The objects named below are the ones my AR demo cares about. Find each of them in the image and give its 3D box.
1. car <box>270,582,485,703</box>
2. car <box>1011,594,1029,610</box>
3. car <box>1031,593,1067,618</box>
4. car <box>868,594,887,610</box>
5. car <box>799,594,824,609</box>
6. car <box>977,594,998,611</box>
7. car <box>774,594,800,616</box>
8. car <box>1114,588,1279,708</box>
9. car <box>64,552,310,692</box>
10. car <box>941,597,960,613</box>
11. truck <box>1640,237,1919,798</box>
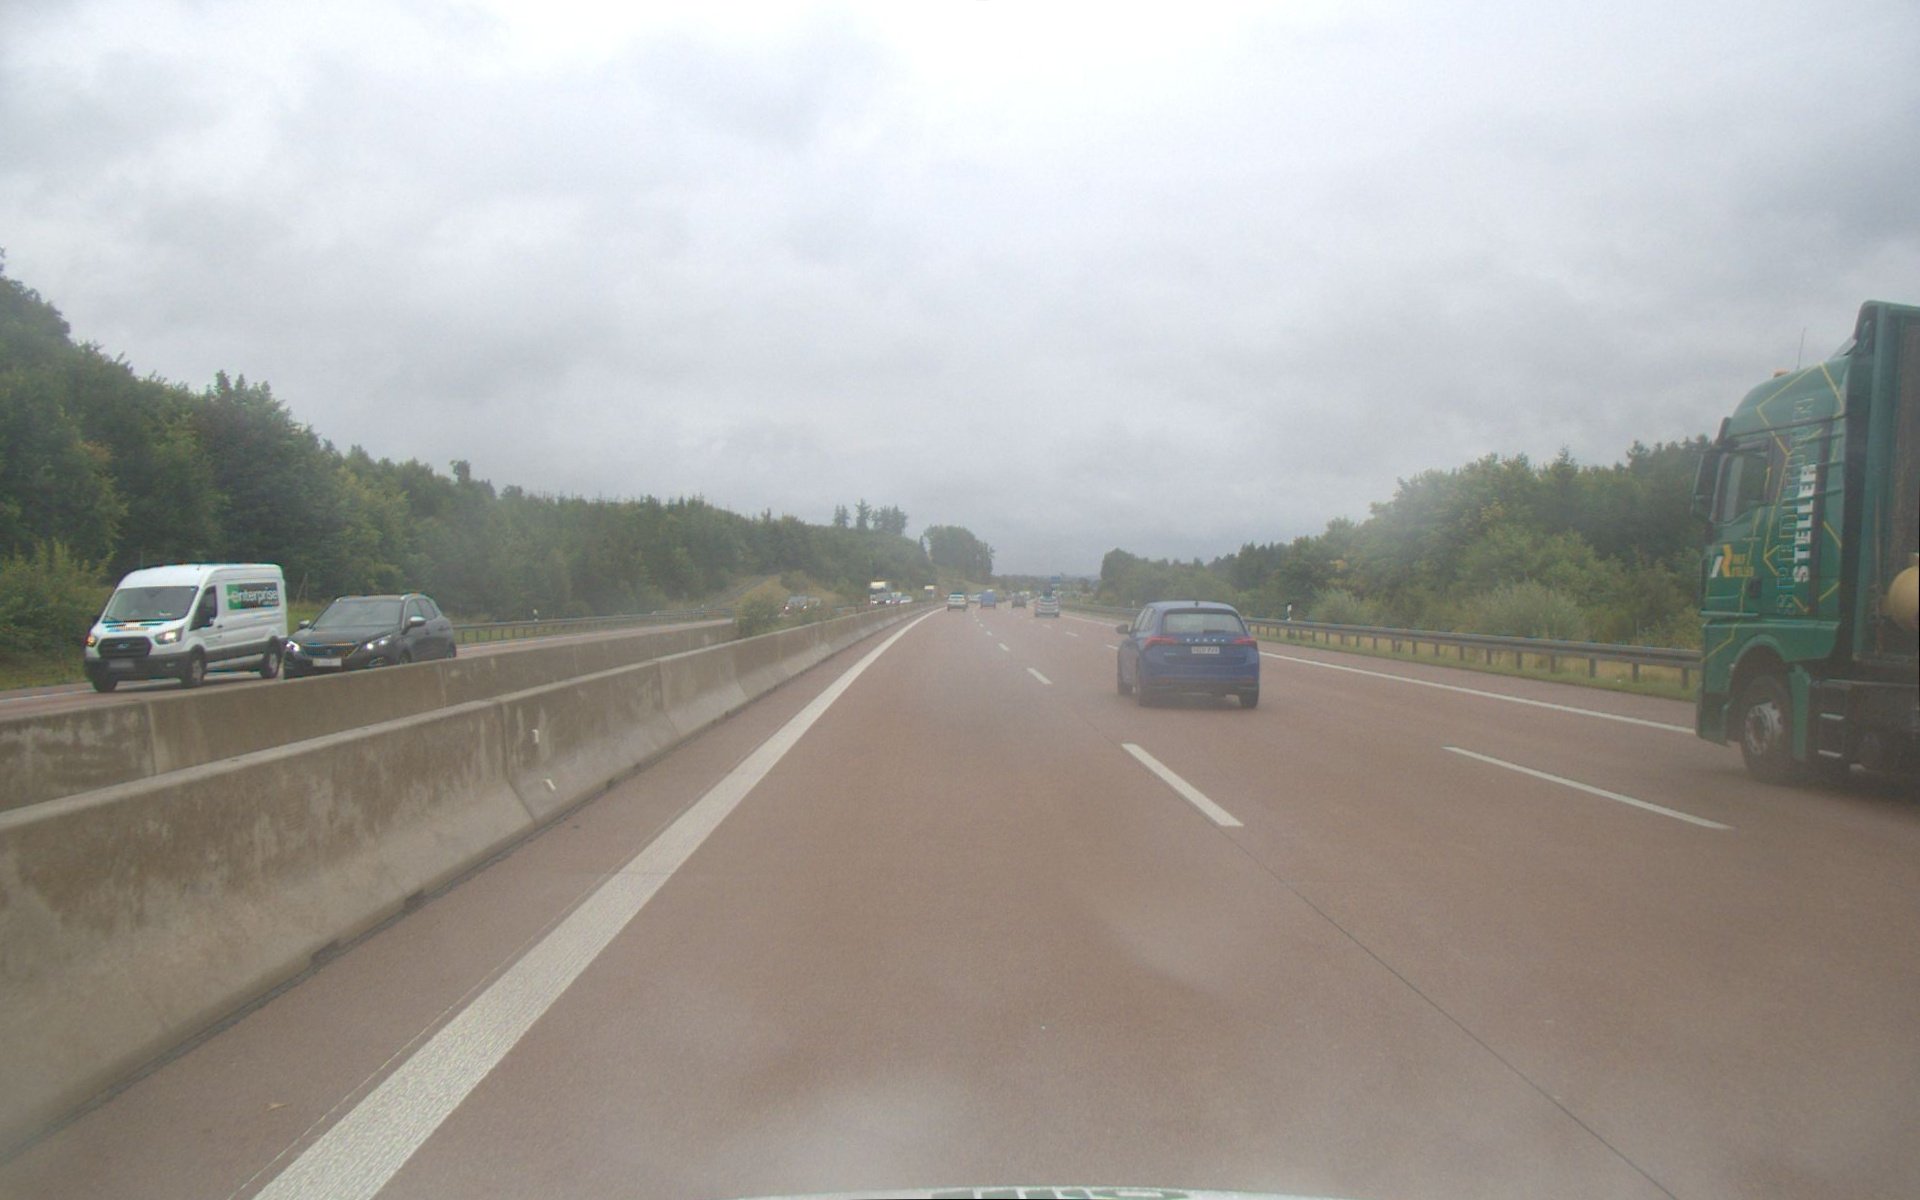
[{"bbox_3d":[-9.667,0.648,27.884,1.953,1.859,4.686,0,0,0],"label":"car"},{"bbox_3d":[7.672,0.262,211.635,1.953,2.049,3.998,1,-1,-2],"label":"car"},{"bbox_3d":[6.706,0.417,125.021,2.275,1.780,4.875,1,-1,-1],"label":"car"},{"bbox_3d":[-8.910,0.204,178.611,1.827,1.578,4.807,1,0,0],"label":"car"},{"bbox_3d":[-16.283,0.171,181.630,1.952,1.587,5.746,1,-1,3],"label":"car"},{"bbox_3d":[3.212,0.309,195.032,2.275,1.780,4.875,1,-1,-1],"label":"car"},{"bbox_3d":[-13.547,0.404,129.719,1.681,1.610,4.315,-1,-1,-1],"label":"car"},{"bbox_3d":[3.394,0.688,24.456,1.735,1.591,4.145,1,-1,-1],"label":"car"},{"bbox_3d":[-16.038,0.472,34.816,2.178,2.630,6.254,1,-1,0],"label":"car"},{"bbox_3d":[-0.918,0.540,161.752,1.836,1.470,4.875,1,-1,-1],"label":"car"},{"bbox_3d":[8.277,-0.555,12.963,2.838,4.034,6.986,1,-1,-2],"label":"truck"}]
